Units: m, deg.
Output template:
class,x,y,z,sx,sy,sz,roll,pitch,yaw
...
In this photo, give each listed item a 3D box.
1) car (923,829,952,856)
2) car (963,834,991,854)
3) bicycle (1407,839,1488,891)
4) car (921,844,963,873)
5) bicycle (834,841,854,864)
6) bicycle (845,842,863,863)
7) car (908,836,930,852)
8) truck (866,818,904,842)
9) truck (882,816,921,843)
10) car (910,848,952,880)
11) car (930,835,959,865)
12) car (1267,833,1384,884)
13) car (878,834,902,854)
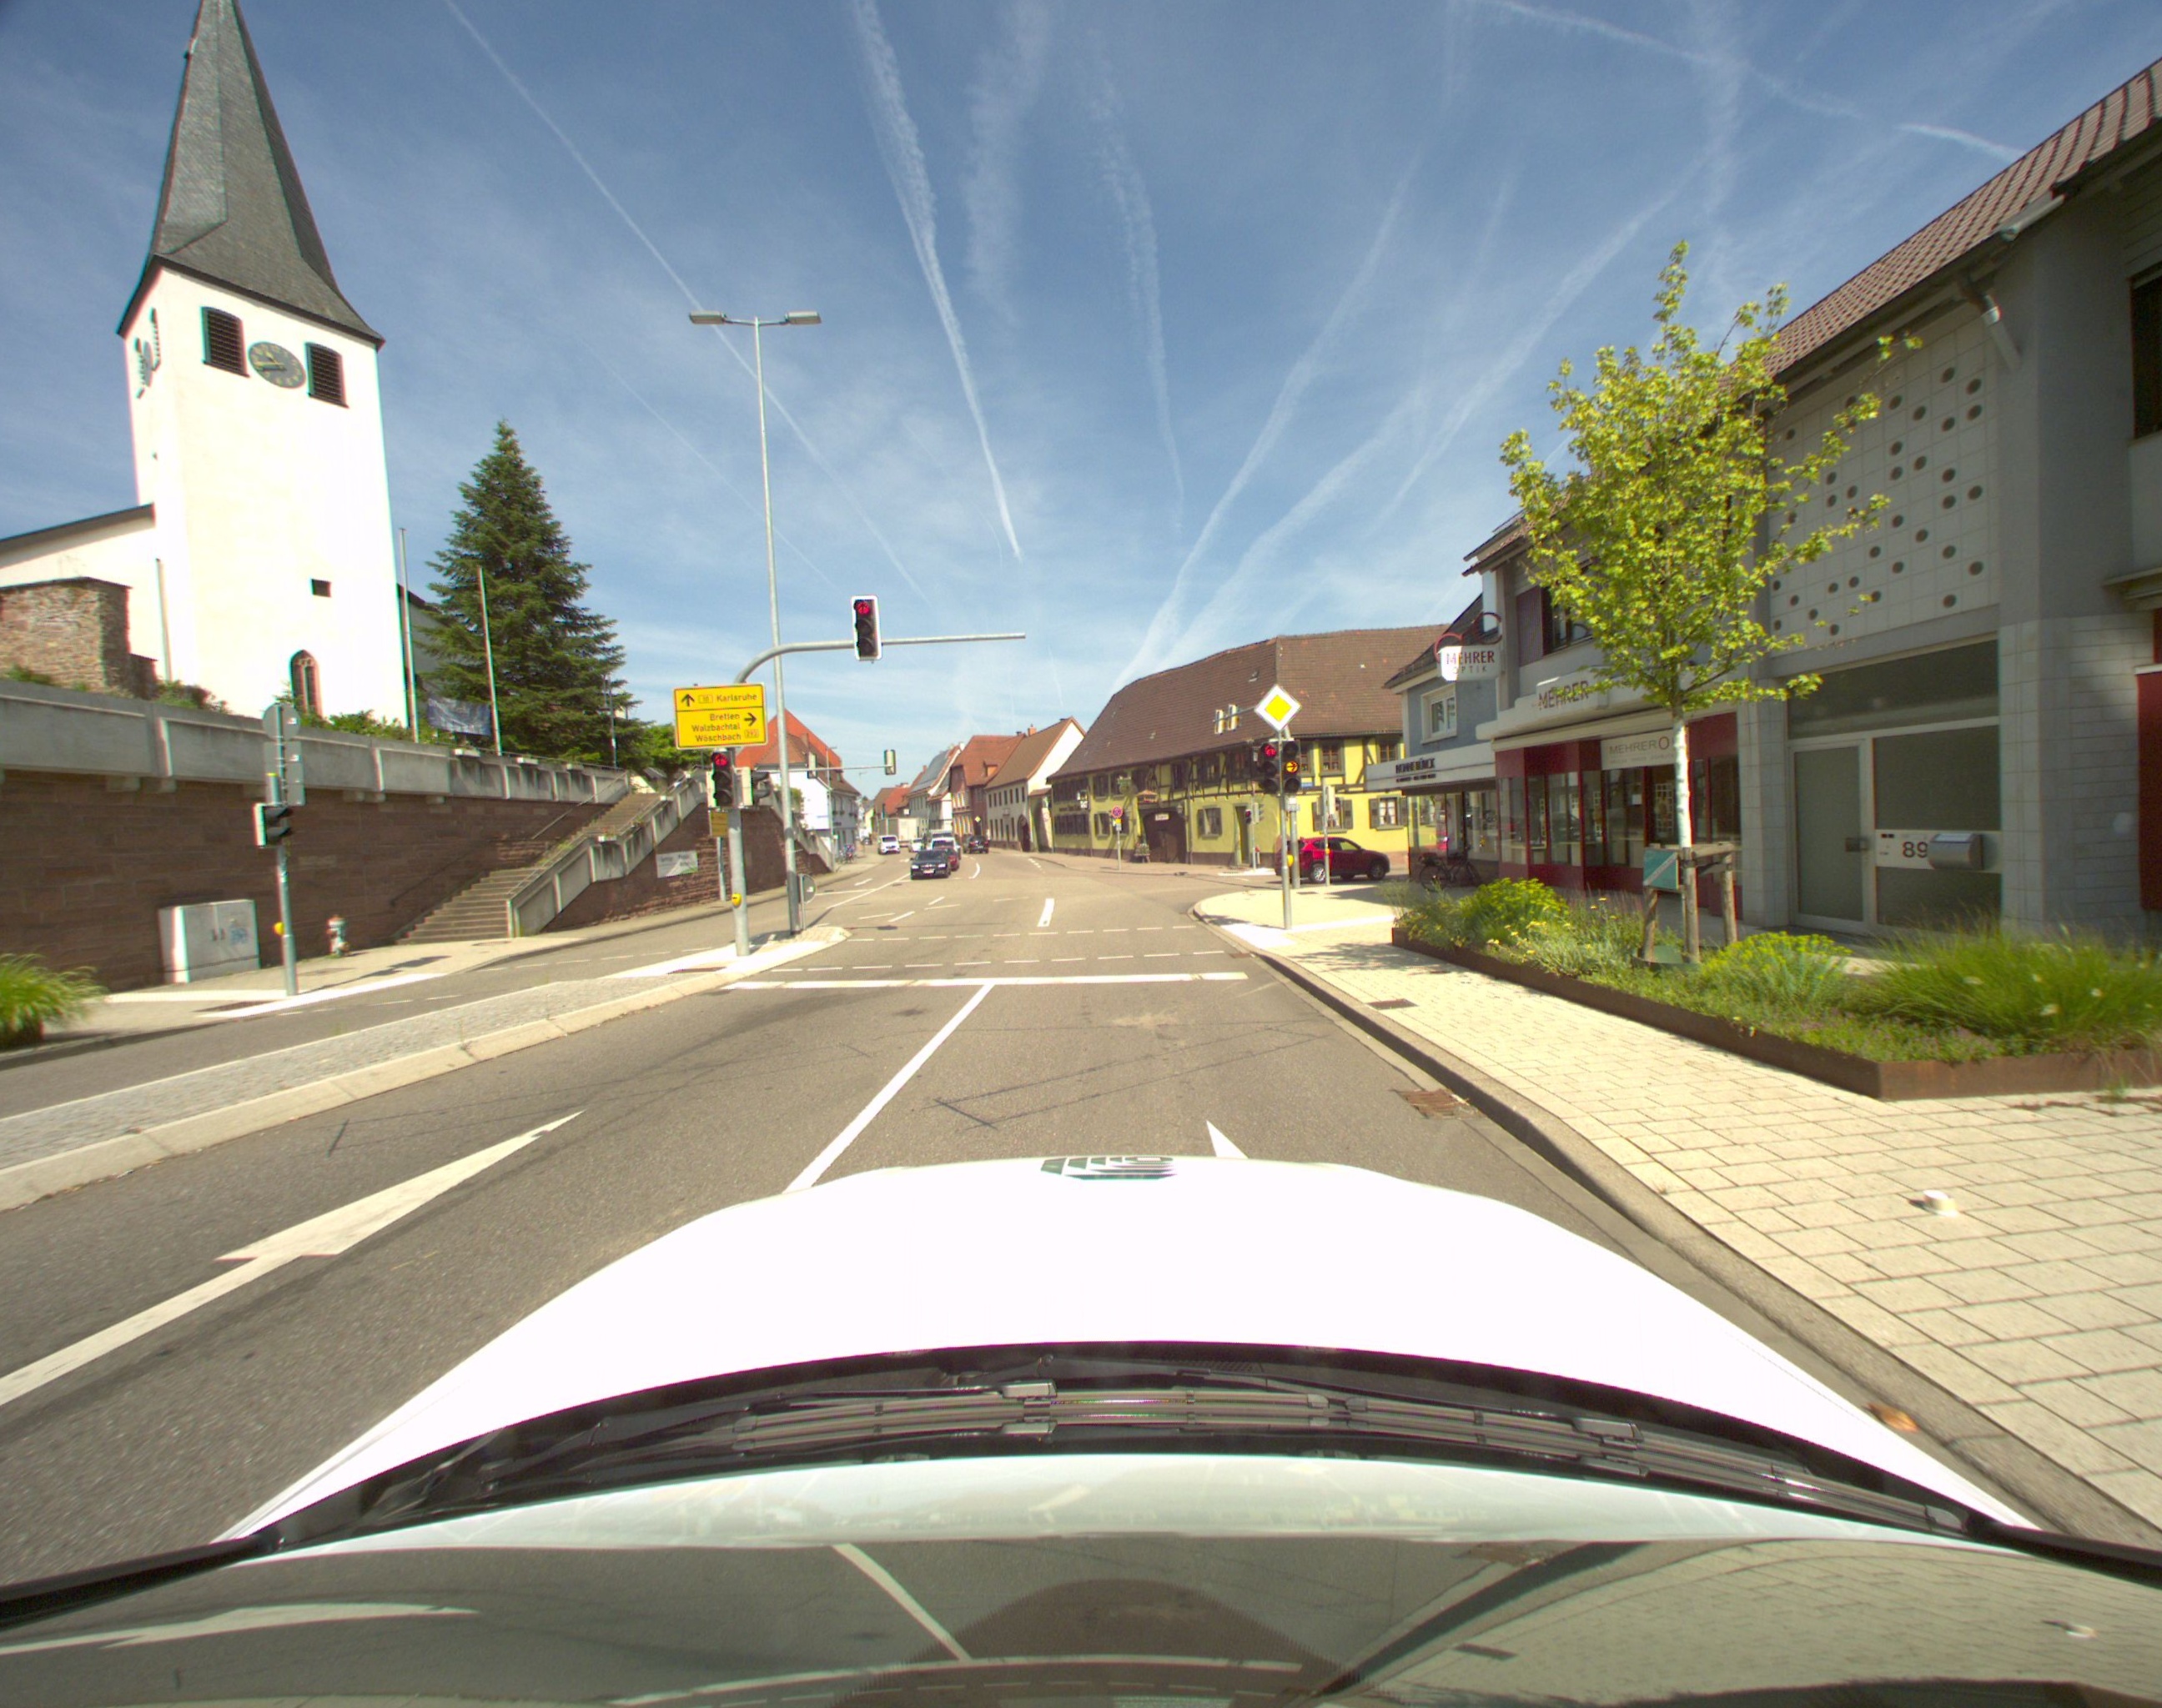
class,x,y,z,sx,sy,sz,roll,pitch,yaw
car,-12.515,-1.037,70.828,1.763,2.245,4.524,-1,1,-19
car,-9.522,-0.924,74.482,1.825,1.738,3.983,-4,2,-17
bicycle,9.502,0.281,21.121,1.796,1.234,0.550,-3,1,2
car,-8.446,0.213,49.975,2.156,1.515,4.938,-2,2,-6
bicycle,-18.656,-0.150,64.104,0.638,1.779,2.672,-1,1,3
bicycle,-17.692,-0.109,63.594,0.555,1.607,2.565,-1,1,3
car,-17.266,-1.108,86.673,1.791,1.526,3.980,-4,2,-19
truck,-29.372,-3.504,121.917,3.177,3.460,10.618,-1,1,-27
truck,-24.980,-3.383,112.987,3.240,3.549,9.152,-1,1,-26
car,-7.831,0.475,42.892,1.819,1.434,4.239,-3,2,-7
car,-9.527,-0.310,57.010,1.820,1.906,4.949,-3,2,-9
car,8.891,0.145,29.660,3.818,1.663,1.796,-3,1,-24
car,-20.485,-1.116,87.300,2.142,1.966,5.248,-4,2,-17
